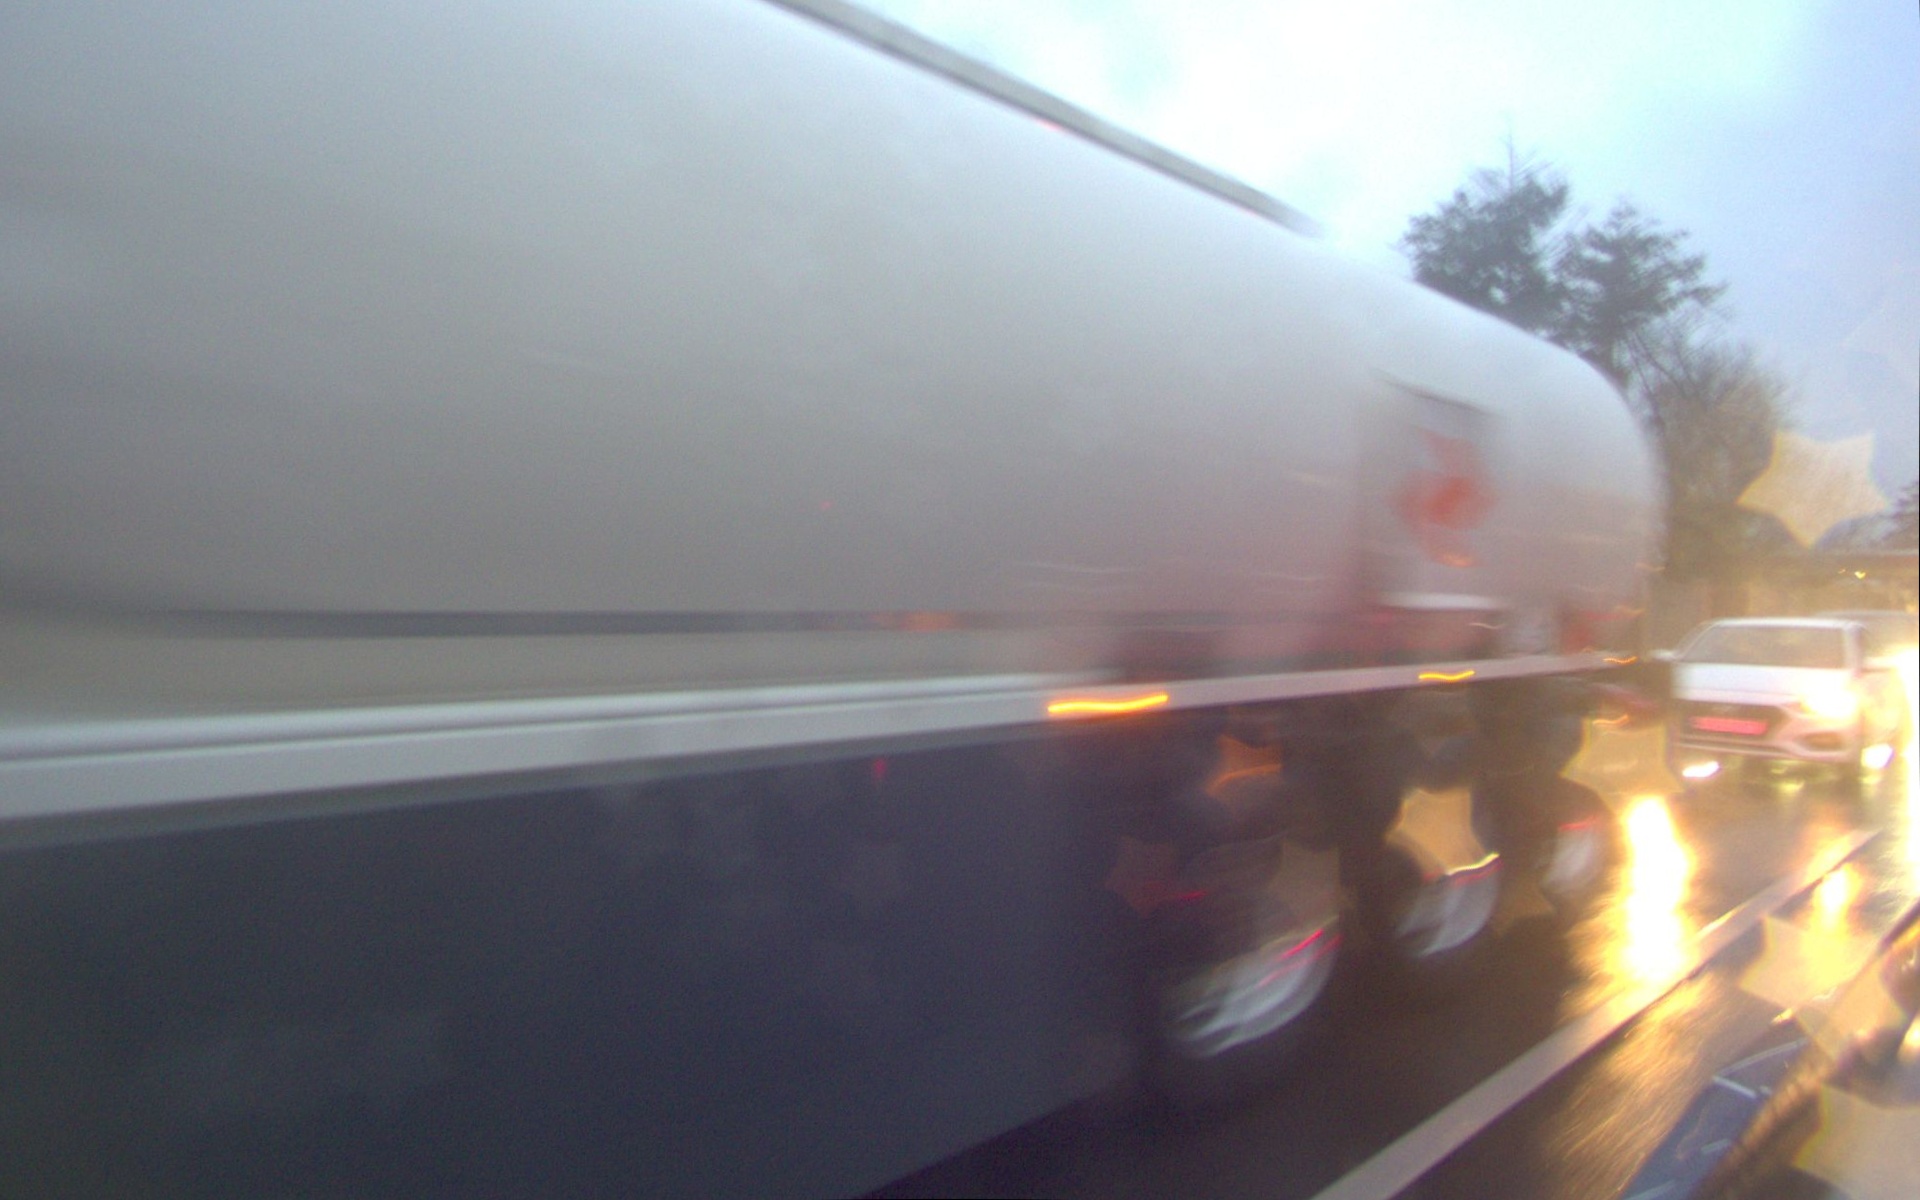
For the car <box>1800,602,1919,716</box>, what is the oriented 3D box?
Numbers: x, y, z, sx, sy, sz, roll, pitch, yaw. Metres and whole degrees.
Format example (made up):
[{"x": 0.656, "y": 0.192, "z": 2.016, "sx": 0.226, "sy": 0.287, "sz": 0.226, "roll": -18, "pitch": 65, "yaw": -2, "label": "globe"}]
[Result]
[{"x": 14.780, "y": 0.829, "z": 15.774, "sx": 4.423, "sy": 1.588, "sz": 1.840, "roll": 0, "pitch": -1, "yaw": -40, "label": "car"}]

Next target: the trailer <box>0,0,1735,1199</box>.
[{"x": -0.063, "y": -0.149, "z": 3.794, "sx": 10.675, "sy": 3.282, "sz": 2.493, "roll": 0, "pitch": 0, "yaw": -40, "label": "trailer"}]

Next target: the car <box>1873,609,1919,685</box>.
[{"x": 20.625, "y": 0.950, "z": 21.144, "sx": 4.195, "sy": 1.490, "sz": 1.705, "roll": 1, "pitch": -1, "yaw": -40, "label": "car"}]

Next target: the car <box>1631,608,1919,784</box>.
[{"x": 8.630, "y": 0.813, "z": 10.479, "sx": 4.303, "sy": 1.457, "sz": 1.665, "roll": 0, "pitch": 0, "yaw": -40, "label": "car"}]
